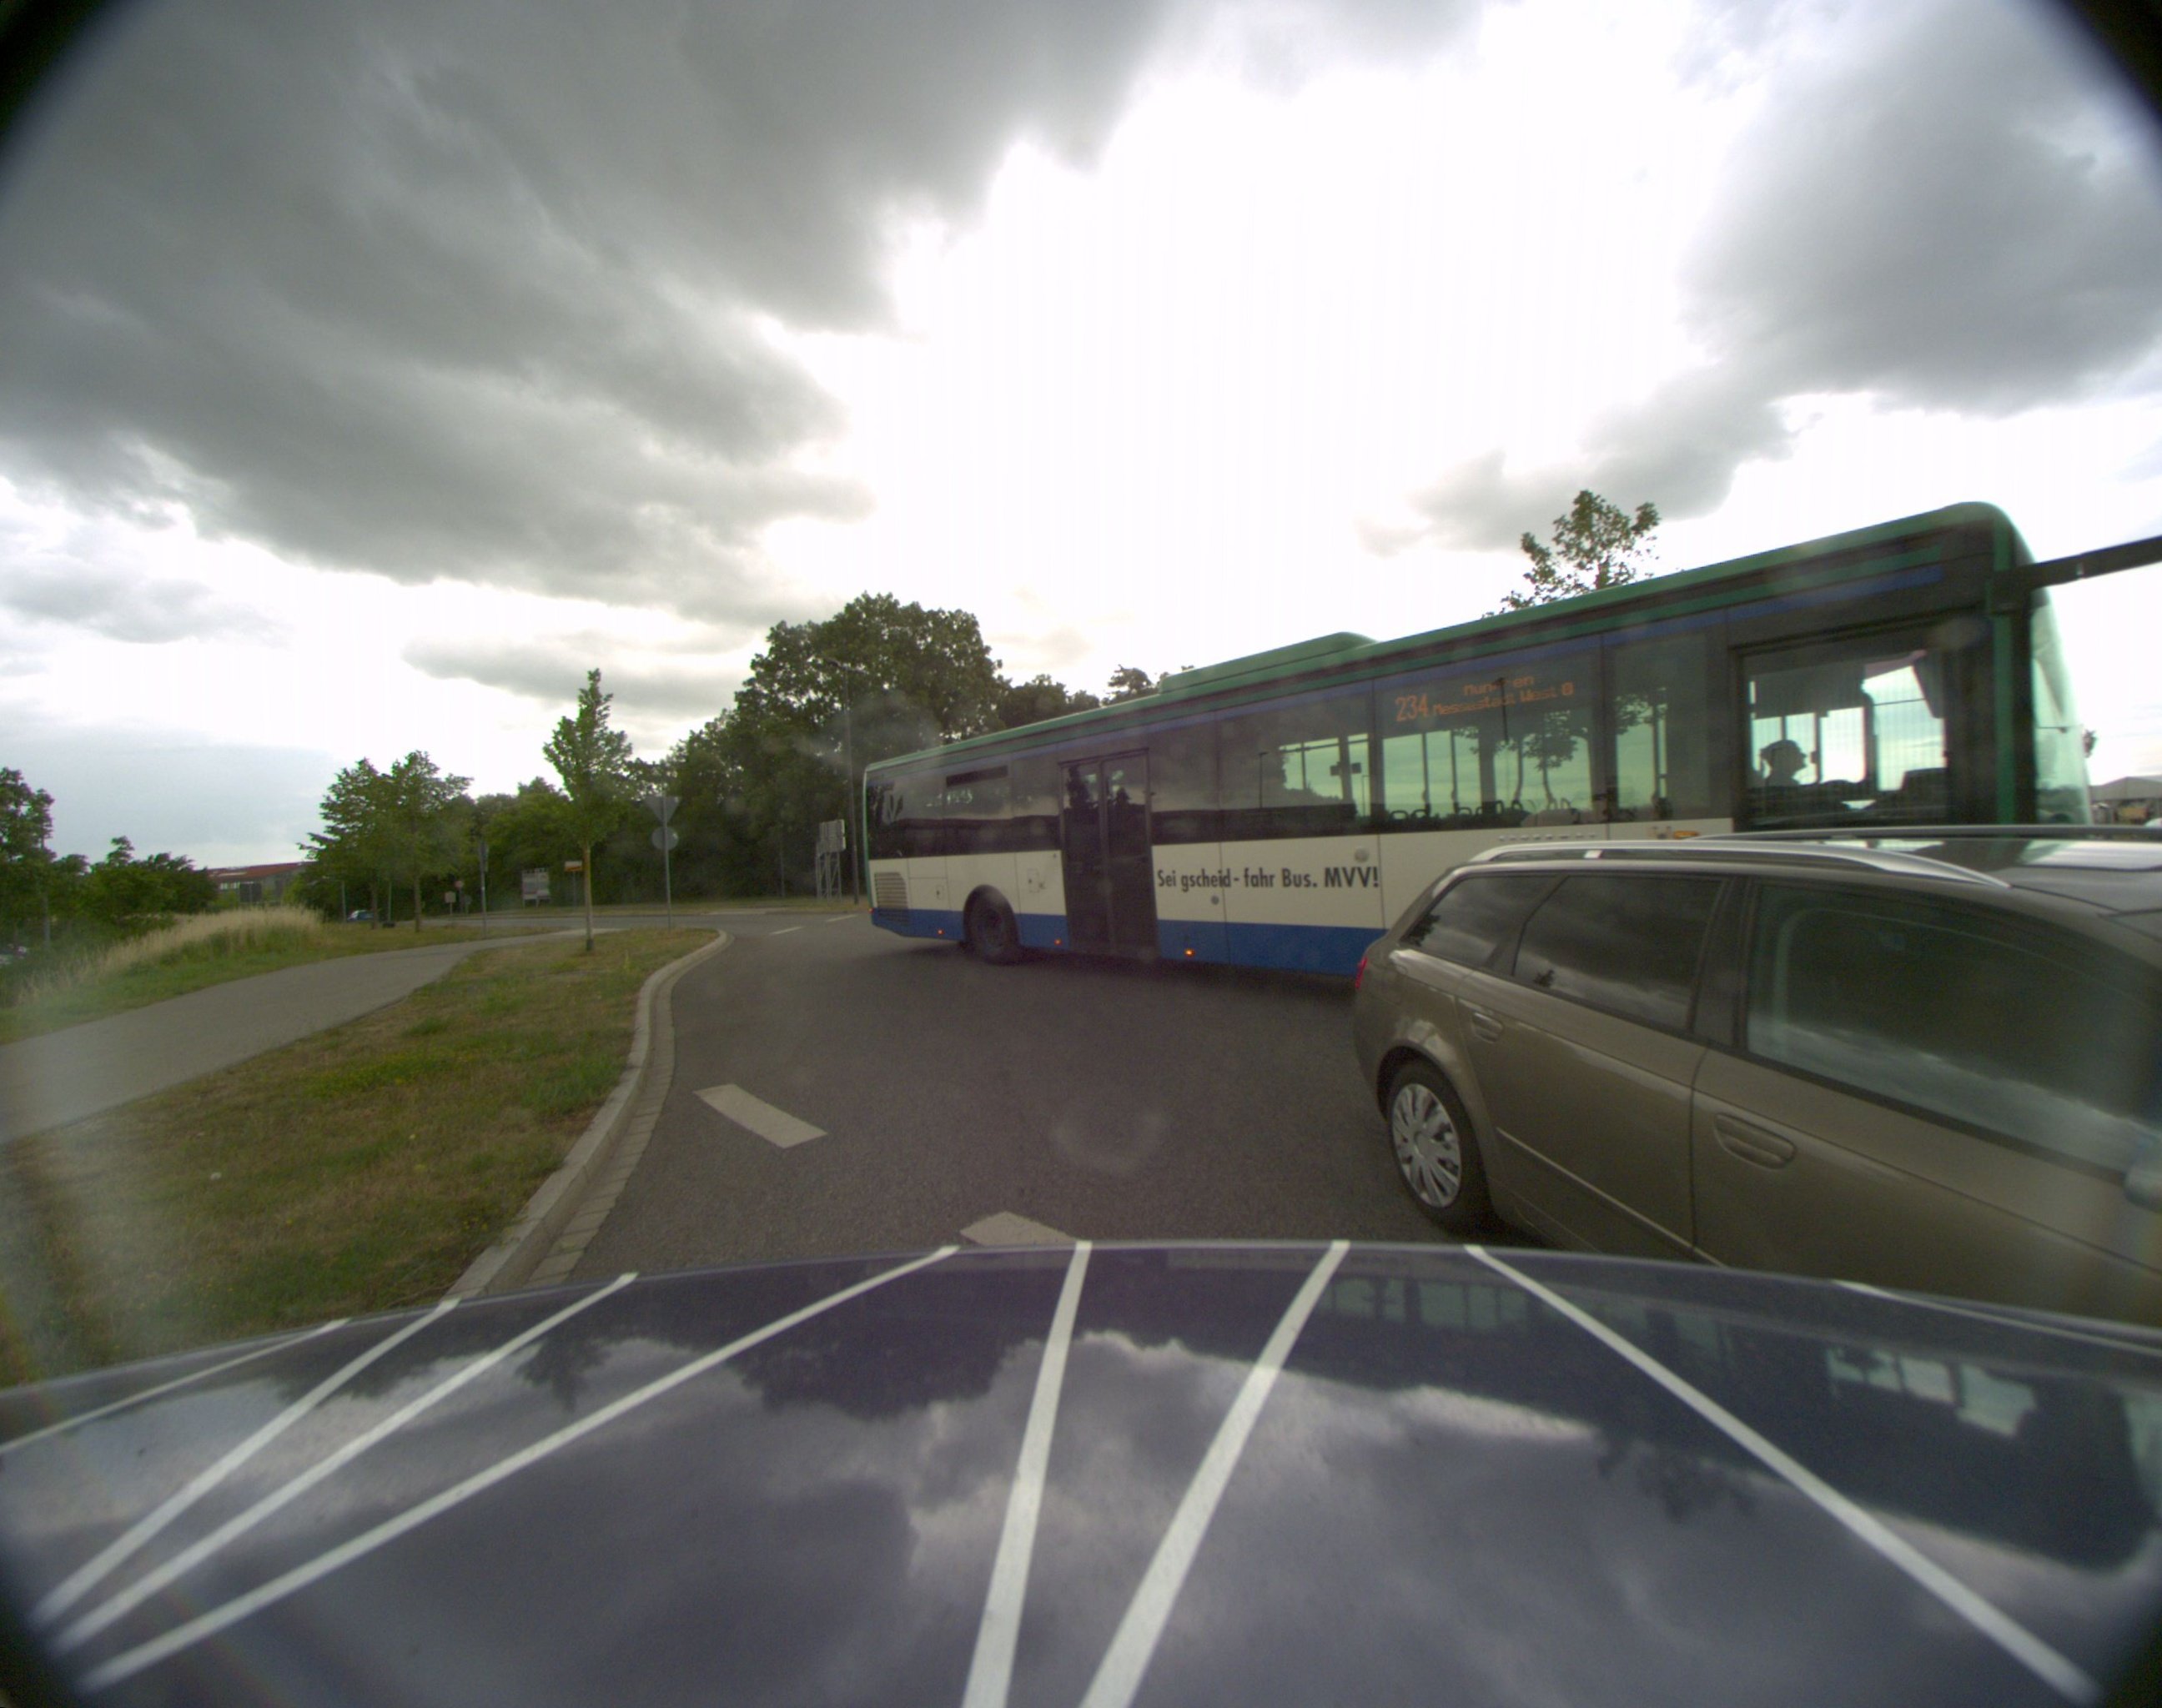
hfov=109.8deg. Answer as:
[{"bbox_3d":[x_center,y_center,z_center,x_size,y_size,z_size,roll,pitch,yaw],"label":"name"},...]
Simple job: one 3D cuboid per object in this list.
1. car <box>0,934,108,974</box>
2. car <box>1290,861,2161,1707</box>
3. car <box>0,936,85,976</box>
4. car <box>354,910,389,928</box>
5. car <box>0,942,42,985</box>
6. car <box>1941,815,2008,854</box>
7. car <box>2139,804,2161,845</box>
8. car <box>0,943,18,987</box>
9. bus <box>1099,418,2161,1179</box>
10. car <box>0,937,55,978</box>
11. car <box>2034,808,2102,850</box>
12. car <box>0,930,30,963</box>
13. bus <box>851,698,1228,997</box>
[{"bbox_3d":[-49.376,4.741,35.886,3.896,1.455,1.693,-3,0,-42],"label":"car"},{"bbox_3d":[2.232,0.802,1.570,1.783,1.456,4.537,-3,0,-8],"label":"car"},{"bbox_3d":[-46.715,4.523,32.978,3.896,1.455,1.693,-3,0,-42],"label":"car"},{"bbox_3d":[-68.278,6.270,73.126,4.072,1.422,1.766,-6,0,39],"label":"car"},{"bbox_3d":[-41.813,4.223,27.946,3.896,1.455,1.693,-3,0,-42],"label":"car"},{"bbox_3d":[43.225,-0.965,36.739,4.006,1.544,1.712,-5,0,-36],"label":"car"},{"bbox_3d":[46.990,-1.353,32.629,4.006,1.544,1.712,-5,0,-36],"label":"car"},{"bbox_3d":[-39.640,4.000,25.723,3.896,1.455,1.693,-3,0,-42],"label":"car"},{"bbox_3d":[3.355,-0.235,6.509,2.530,3.239,6.530,-3,2,-42],"label":"bus"},{"bbox_3d":[-44.133,4.265,30.066,3.896,1.455,1.693,-3,0,-42],"label":"car"},{"bbox_3d":[45.110,-1.159,34.712,4.006,1.544,1.712,-5,0,-36],"label":"car"},{"bbox_3d":[-53.267,4.577,35.965,1.879,1.435,4.007,-3,0,33],"label":"car"},{"bbox_3d":[-0.885,-0.084,11.087,2.530,3.239,5.445,-3,2,-42],"label":"bus"}]
